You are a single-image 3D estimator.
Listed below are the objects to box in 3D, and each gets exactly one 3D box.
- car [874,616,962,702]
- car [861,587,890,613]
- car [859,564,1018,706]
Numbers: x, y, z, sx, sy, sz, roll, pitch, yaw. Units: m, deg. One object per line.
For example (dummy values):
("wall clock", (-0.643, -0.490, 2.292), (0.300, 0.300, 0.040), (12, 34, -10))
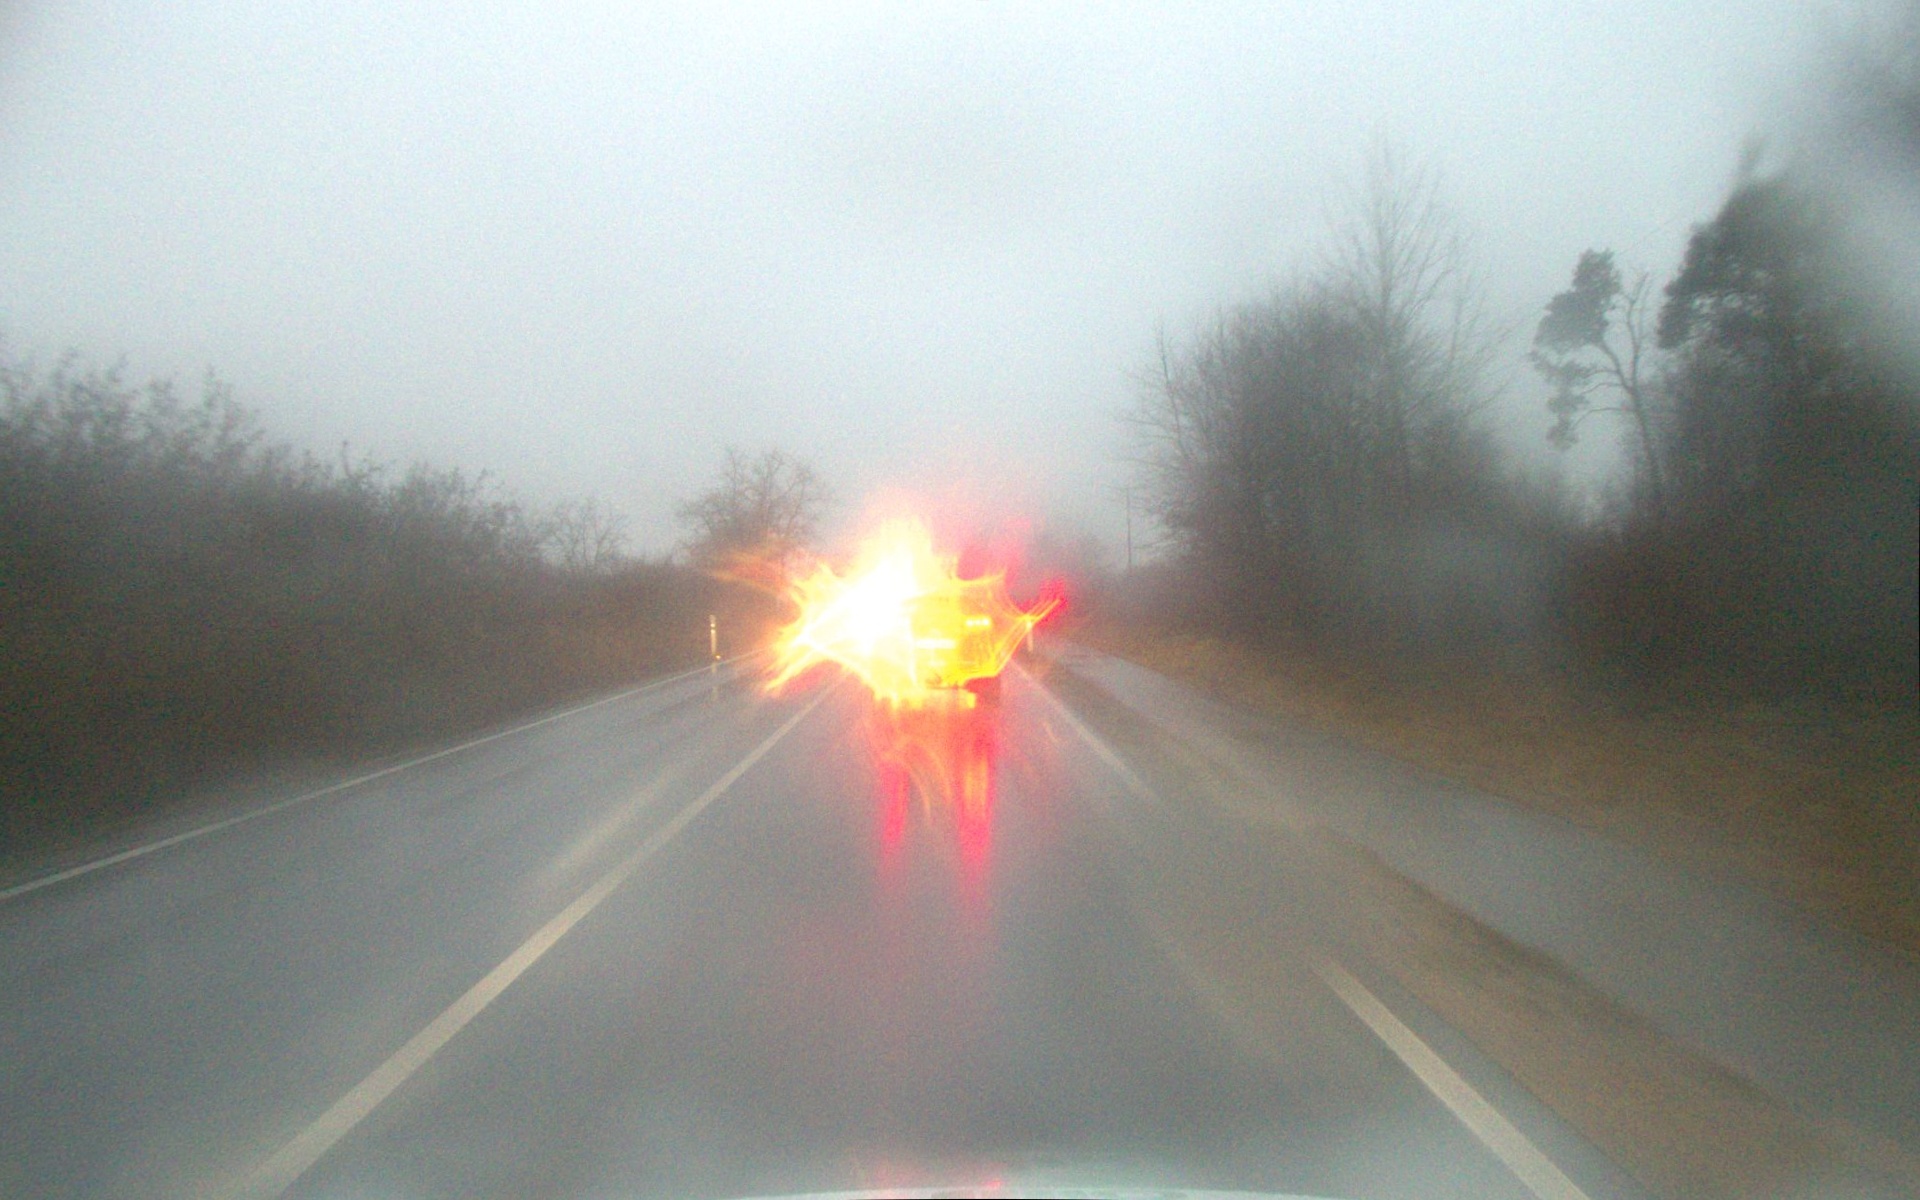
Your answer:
("car", (-0.973, 1.353, 39.312), (1.953, 1.881, 3.999), (1, 0, -1))
("car", (-5.083, -0.009, 100.171), (1.599, 1.482, 3.981), (-2, 0, -2))
("car", (-0.307, 0.451, 24.242), (2.077, 1.852, 4.979), (0, 0, -1))
